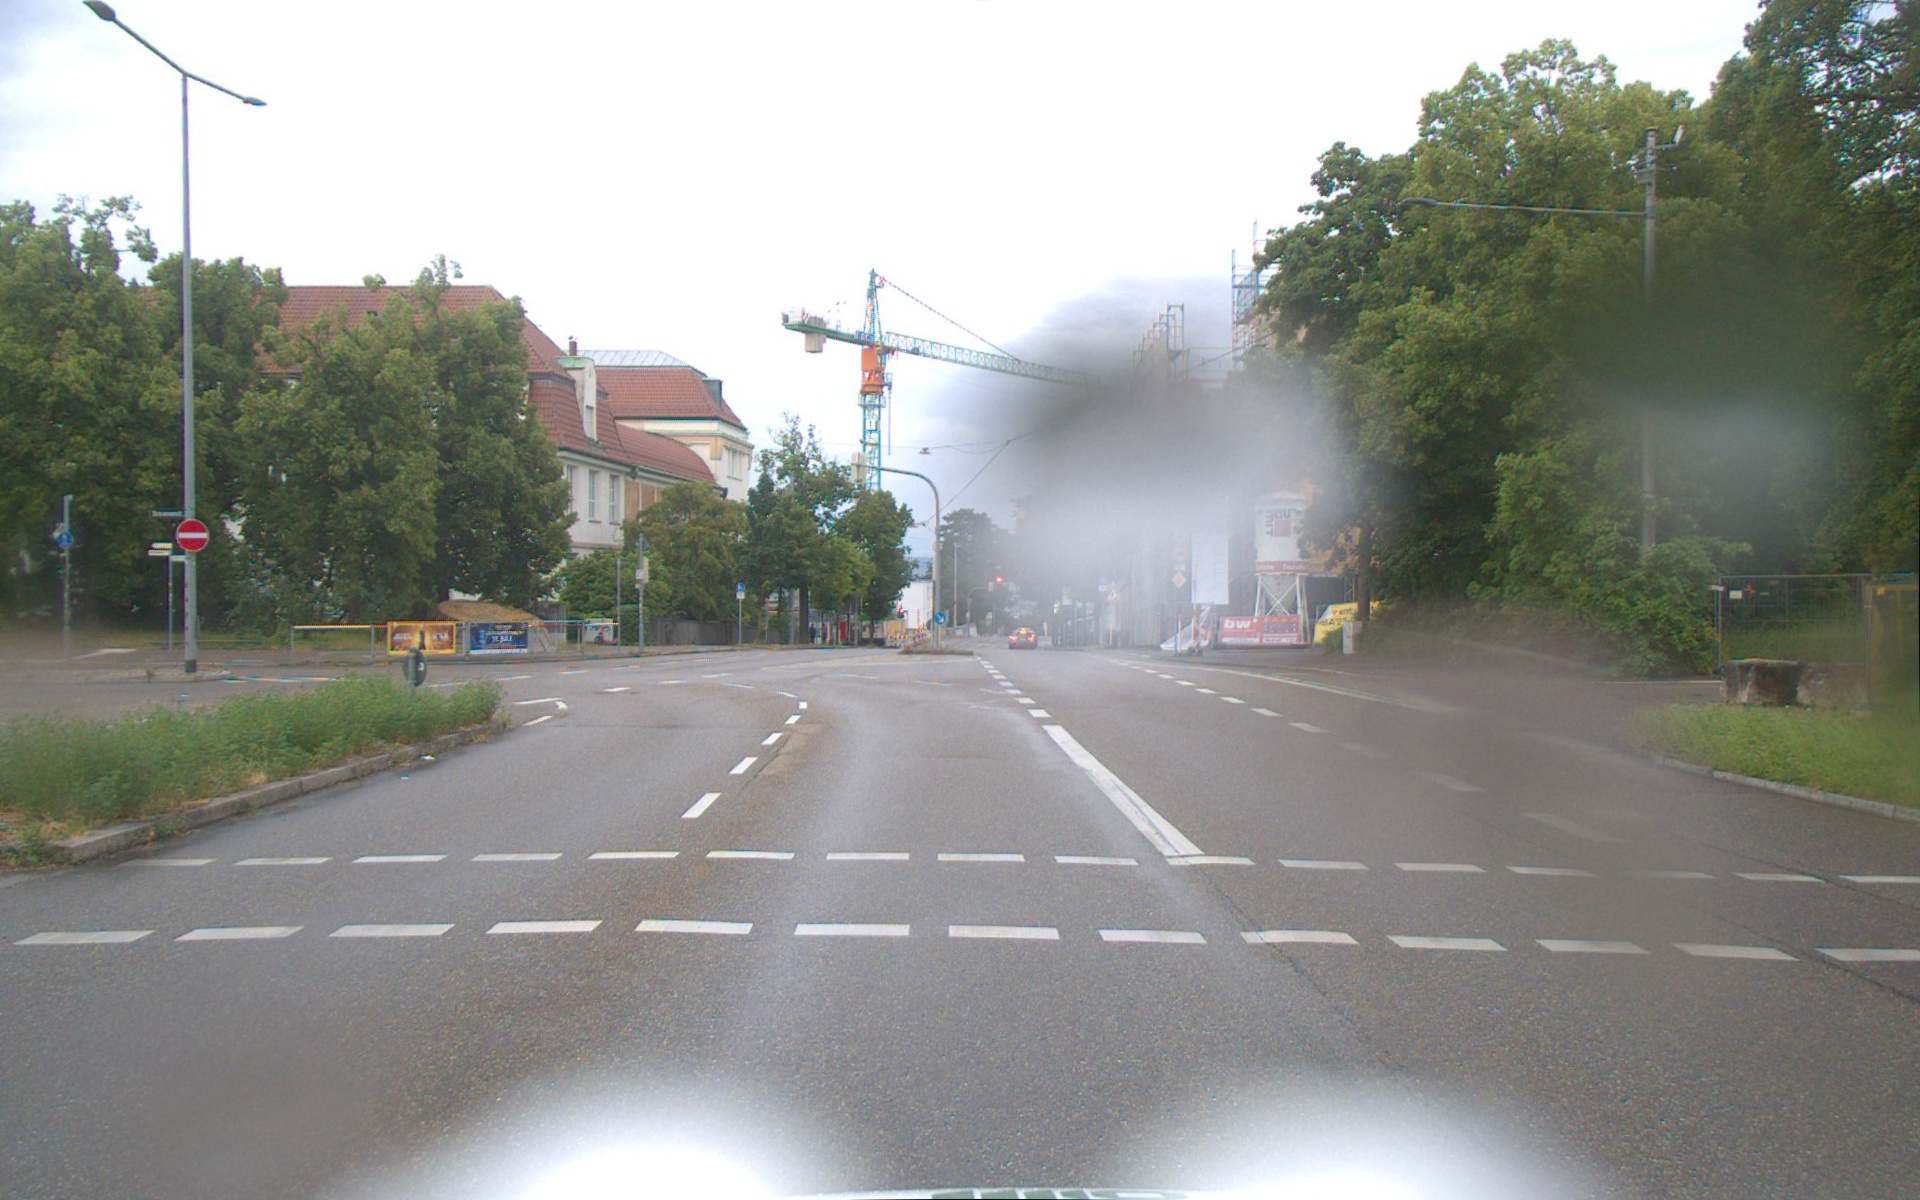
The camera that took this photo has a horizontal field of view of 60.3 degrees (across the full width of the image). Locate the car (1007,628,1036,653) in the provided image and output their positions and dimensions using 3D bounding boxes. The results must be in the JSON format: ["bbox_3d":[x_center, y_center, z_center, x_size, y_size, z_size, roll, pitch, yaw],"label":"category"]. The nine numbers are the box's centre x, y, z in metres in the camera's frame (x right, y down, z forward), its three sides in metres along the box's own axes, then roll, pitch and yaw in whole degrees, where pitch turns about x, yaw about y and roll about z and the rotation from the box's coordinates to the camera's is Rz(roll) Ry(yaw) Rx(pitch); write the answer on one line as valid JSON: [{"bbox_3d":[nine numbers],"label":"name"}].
[{"bbox_3d":[4.650,3.073,125.112,1.953,1.780,3.999,-1,0,-1],"label":"car"}]

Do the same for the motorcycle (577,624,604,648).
[{"bbox_3d":[-14.357,1.398,64.266,0.832,0.893,0.877,1,0,-1],"label":"motorcycle"}]

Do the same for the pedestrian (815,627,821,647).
[{"bbox_3d":[-10.396,2.719,121.083,0.465,1.421,0.411,0,0,-1],"label":"pedestrian"}]

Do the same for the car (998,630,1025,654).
[{"bbox_3d":[4.064,3.308,130.843,1.953,1.780,3.999,-1,0,-1],"label":"car"}]

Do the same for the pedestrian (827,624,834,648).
[{"bbox_3d":[-9.537,2.642,121.481,0.484,1.674,0.533,1,-1,-7],"label":"pedestrian"}]

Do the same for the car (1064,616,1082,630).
[{"bbox_3d":[15.030,3.095,219.498,1.951,1.780,4.003,-1,0,10],"label":"car"}]
